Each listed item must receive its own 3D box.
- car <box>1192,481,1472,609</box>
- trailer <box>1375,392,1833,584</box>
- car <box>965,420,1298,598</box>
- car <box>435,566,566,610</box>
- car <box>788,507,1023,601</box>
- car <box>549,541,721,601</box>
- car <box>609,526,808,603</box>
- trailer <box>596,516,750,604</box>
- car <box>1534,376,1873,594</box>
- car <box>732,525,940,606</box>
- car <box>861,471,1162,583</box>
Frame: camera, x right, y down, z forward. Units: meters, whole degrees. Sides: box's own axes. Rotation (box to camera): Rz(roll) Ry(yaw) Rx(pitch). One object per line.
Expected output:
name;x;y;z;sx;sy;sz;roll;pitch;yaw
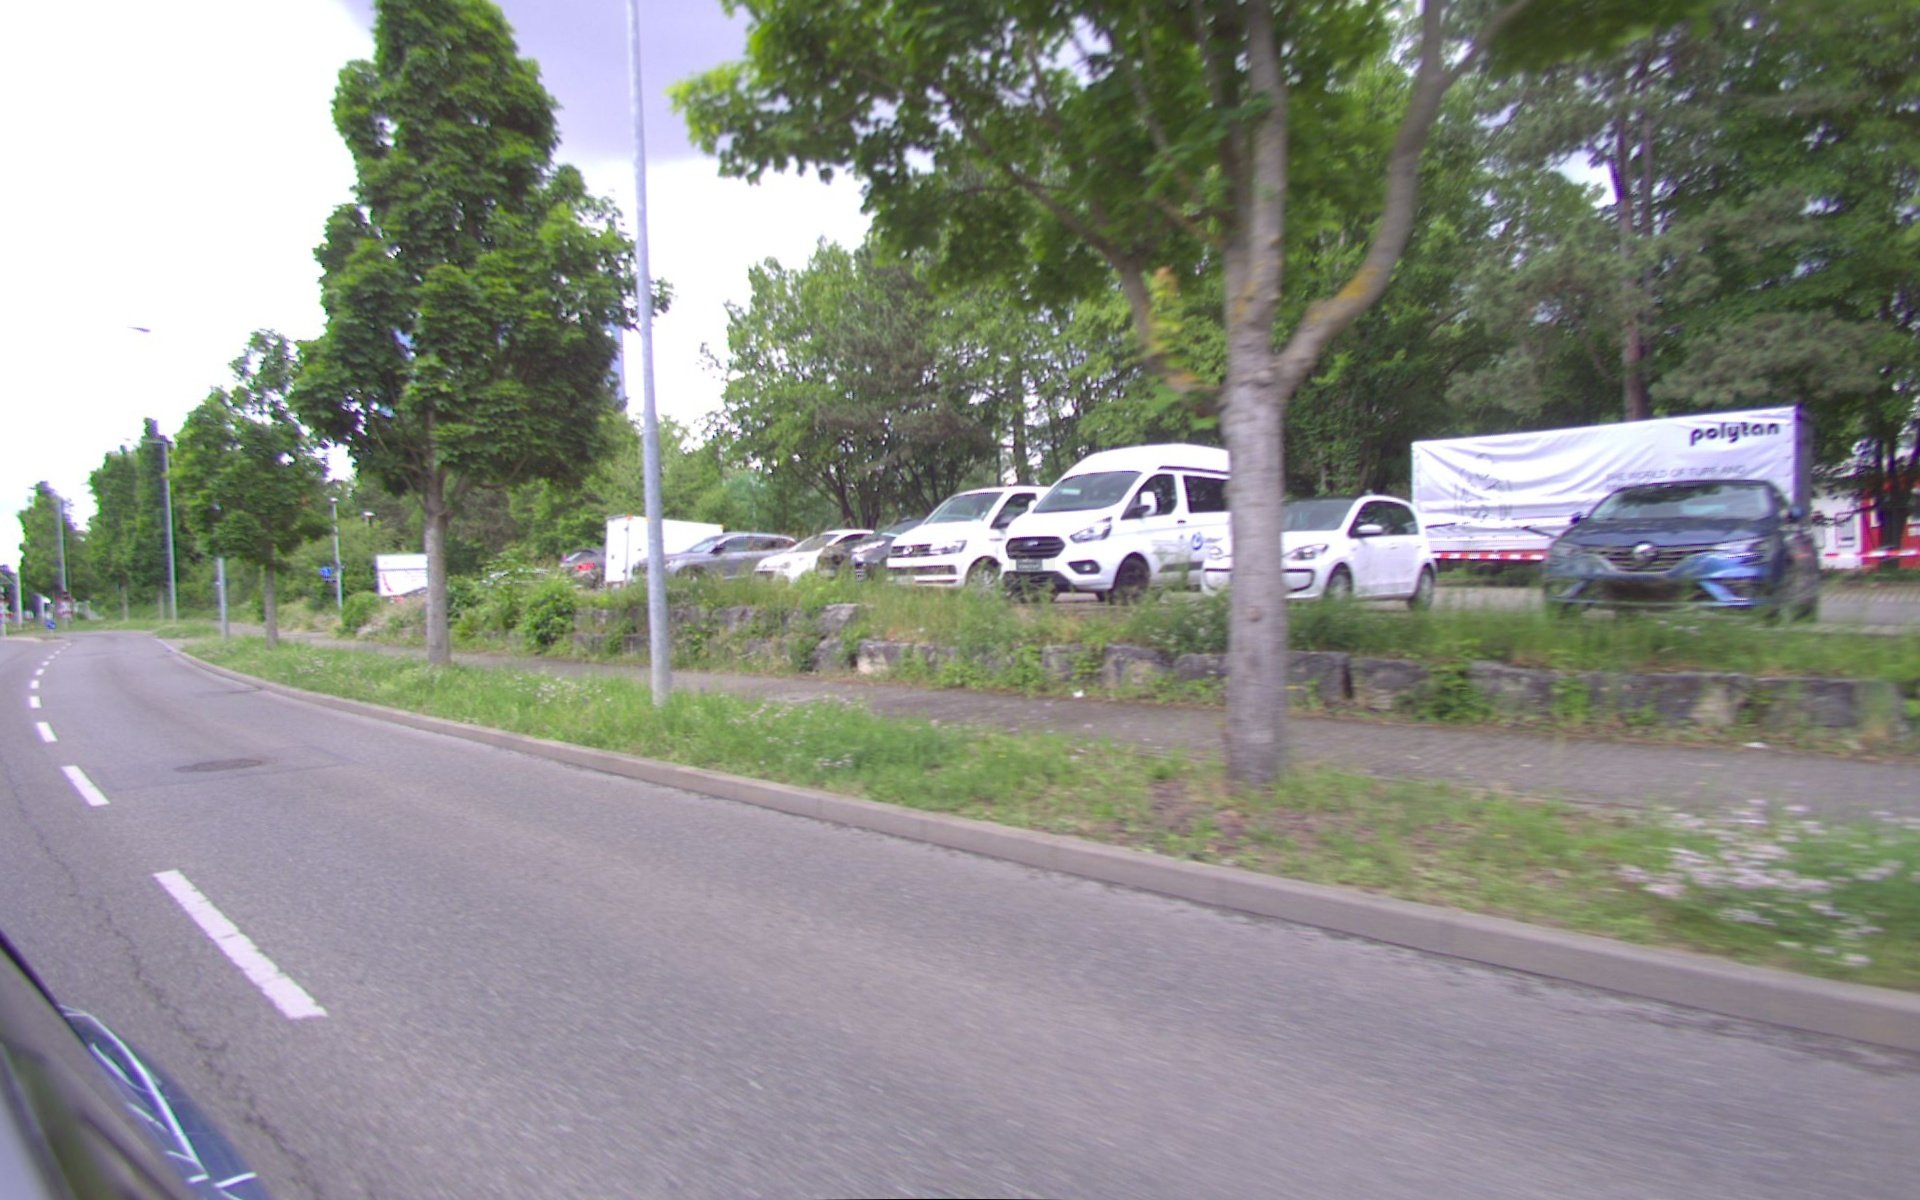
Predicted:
car;4.785;-0.673;12.655;4.327;1.326;1.564;-4;2;-45
trailer;12.310;-1.917;19.945;2.617;3.097;7.202;-4;3;-43
car;2.691;-1.225;14.892;5.097;2.122;2.216;-4;2;-45
car;-16.998;-0.451;37.493;3.985;1.427;2.003;-4;1;-40
car;-0.976;-0.869;19.110;3.984;1.559;2.003;-4;1;-40
car;-8.857;-0.807;27.702;3.984;1.427;2.003;-4;1;-40
car;-5.830;-0.845;23.674;3.984;1.596;2.003;-4;1;-40
trailer;-7.276;-1.010;25.751;3.324;2.073;1.681;-2;1;-40
car;7.534;-0.982;9.997;5.097;1.573;1.887;-4;2;-45
car;-2.544;-0.753;21.300;3.984;1.523;1.784;-4;1;-40
car;0.995;-1.192;17.090;4.932;1.559;2.101;-4;1;-40
